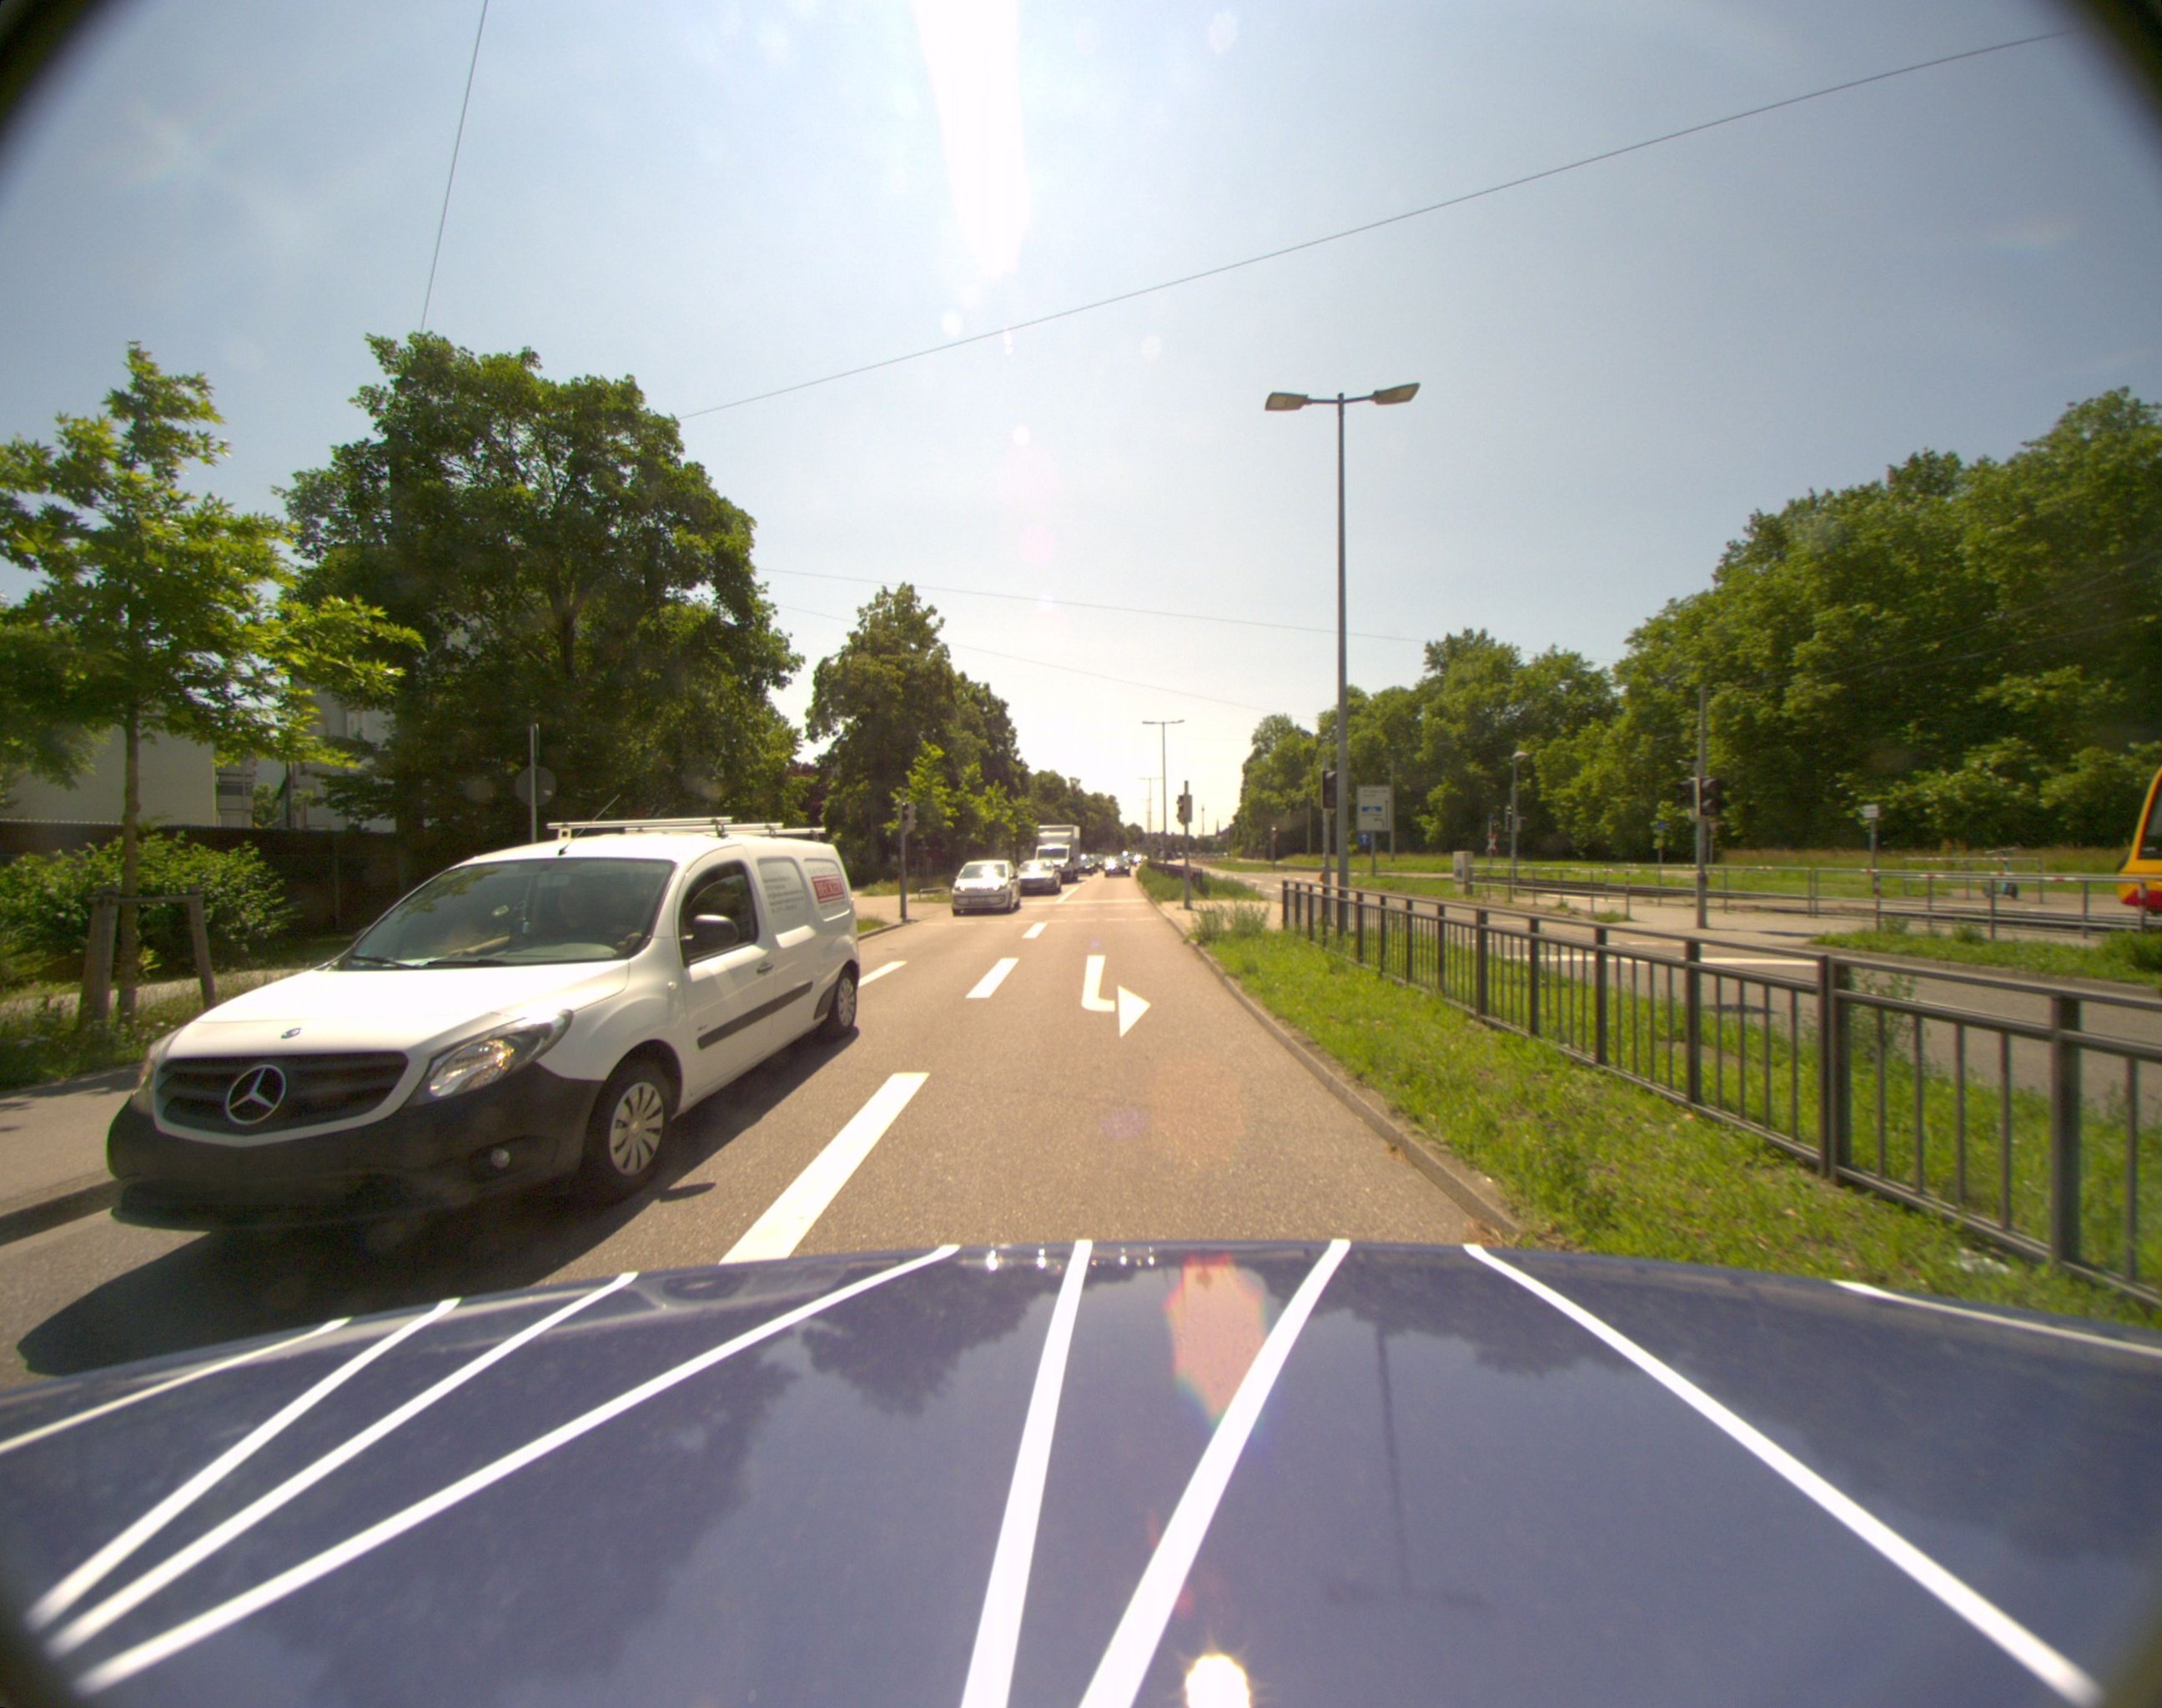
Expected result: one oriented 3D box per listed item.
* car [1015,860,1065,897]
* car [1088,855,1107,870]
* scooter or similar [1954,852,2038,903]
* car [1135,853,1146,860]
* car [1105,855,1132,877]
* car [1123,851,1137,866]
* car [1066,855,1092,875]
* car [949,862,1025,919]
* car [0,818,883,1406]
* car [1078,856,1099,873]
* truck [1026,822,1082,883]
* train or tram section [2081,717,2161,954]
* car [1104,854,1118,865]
[{"bbox_3d":[-1.672,0.984,32.109,1.618,1.373,4.115,-2,0,3],"label":"car"},{"bbox_3d":[1.690,0.854,76.954,1.745,1.382,3.888,-1,0,3],"label":"car"},{"bbox_3d":[22.935,0.574,19.077,0.771,1.230,1.100,-2,0,2],"label":"scooter or similar"},{"bbox_3d":[11.165,0.478,142.010,1.745,1.382,3.889,-1,0,8],"label":"car"},{"bbox_3d":[2.610,0.823,52.971,1.745,1.382,3.888,-1,0,3],"label":"car"},{"bbox_3d":[6.384,0.582,98.885,1.745,1.840,3.888,-1,0,3],"label":"car"},{"bbox_3d":[-0.119,0.826,58.970,1.745,1.382,3.888,-1,0,3],"label":"car"},{"bbox_3d":[-2.657,0.988,22.163,1.626,1.433,3.498,-2,0,1],"label":"car"},{"bbox_3d":[-2.951,0.837,4.974,1.809,1.845,5.082,-2,0,1],"label":"car"},{"bbox_3d":[0.707,0.935,68.375,1.618,1.373,4.115,-2,0,3],"label":"car"},{"bbox_3d":[-1.463,-0.092,44.335,2.489,3.277,6.606,-1,0,4],"label":"truck"},{"bbox_3d":[18.818,-0.337,7.479,2.957,3.833,11.541,-2,0,2],"label":"train or tram section"},{"bbox_3d":[4.249,0.789,107.880,1.745,1.382,3.888,-1,0,5],"label":"car"}]
